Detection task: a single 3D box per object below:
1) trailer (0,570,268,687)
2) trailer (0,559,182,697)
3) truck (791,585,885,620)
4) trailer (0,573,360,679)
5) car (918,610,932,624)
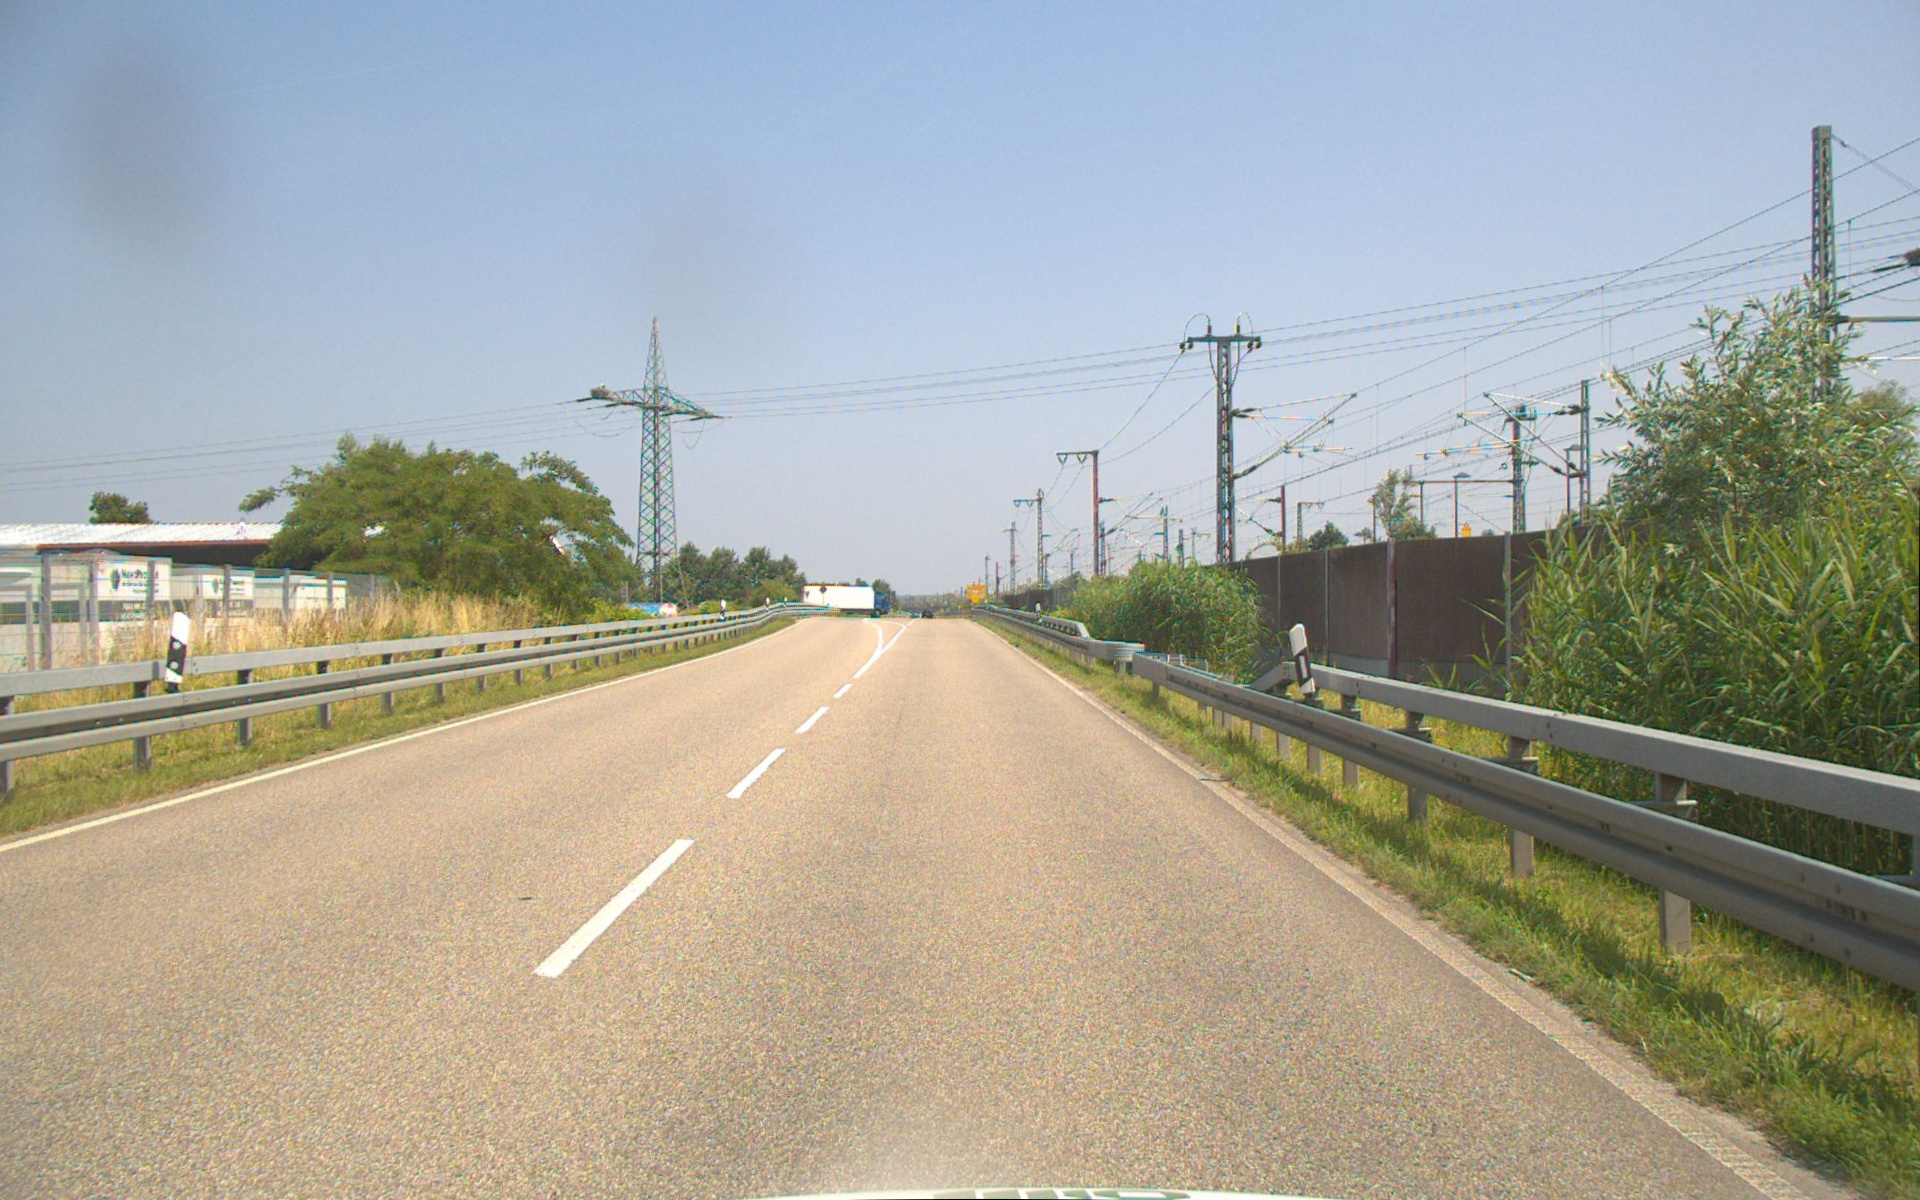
[{"bbox_3d":[-14.392,0.421,26.661,5.412,1.774,2.484,0,0,0],"label":"trailer"},{"bbox_3d":[-14.512,0.362,23.918,5.277,1.881,2.543,0,0,-2],"label":"trailer"},{"bbox_3d":[-13.747,0.274,186.678,10.233,3.695,2.835,1,0,-13],"label":"truck"},{"bbox_3d":[-13.805,0.433,29.311,5.411,1.751,2.485,0,0,2],"label":"trailer"},{"bbox_3d":[-5.359,2.632,255.147,1.954,2.049,3.996,0,0,-5],"label":"car"}]
